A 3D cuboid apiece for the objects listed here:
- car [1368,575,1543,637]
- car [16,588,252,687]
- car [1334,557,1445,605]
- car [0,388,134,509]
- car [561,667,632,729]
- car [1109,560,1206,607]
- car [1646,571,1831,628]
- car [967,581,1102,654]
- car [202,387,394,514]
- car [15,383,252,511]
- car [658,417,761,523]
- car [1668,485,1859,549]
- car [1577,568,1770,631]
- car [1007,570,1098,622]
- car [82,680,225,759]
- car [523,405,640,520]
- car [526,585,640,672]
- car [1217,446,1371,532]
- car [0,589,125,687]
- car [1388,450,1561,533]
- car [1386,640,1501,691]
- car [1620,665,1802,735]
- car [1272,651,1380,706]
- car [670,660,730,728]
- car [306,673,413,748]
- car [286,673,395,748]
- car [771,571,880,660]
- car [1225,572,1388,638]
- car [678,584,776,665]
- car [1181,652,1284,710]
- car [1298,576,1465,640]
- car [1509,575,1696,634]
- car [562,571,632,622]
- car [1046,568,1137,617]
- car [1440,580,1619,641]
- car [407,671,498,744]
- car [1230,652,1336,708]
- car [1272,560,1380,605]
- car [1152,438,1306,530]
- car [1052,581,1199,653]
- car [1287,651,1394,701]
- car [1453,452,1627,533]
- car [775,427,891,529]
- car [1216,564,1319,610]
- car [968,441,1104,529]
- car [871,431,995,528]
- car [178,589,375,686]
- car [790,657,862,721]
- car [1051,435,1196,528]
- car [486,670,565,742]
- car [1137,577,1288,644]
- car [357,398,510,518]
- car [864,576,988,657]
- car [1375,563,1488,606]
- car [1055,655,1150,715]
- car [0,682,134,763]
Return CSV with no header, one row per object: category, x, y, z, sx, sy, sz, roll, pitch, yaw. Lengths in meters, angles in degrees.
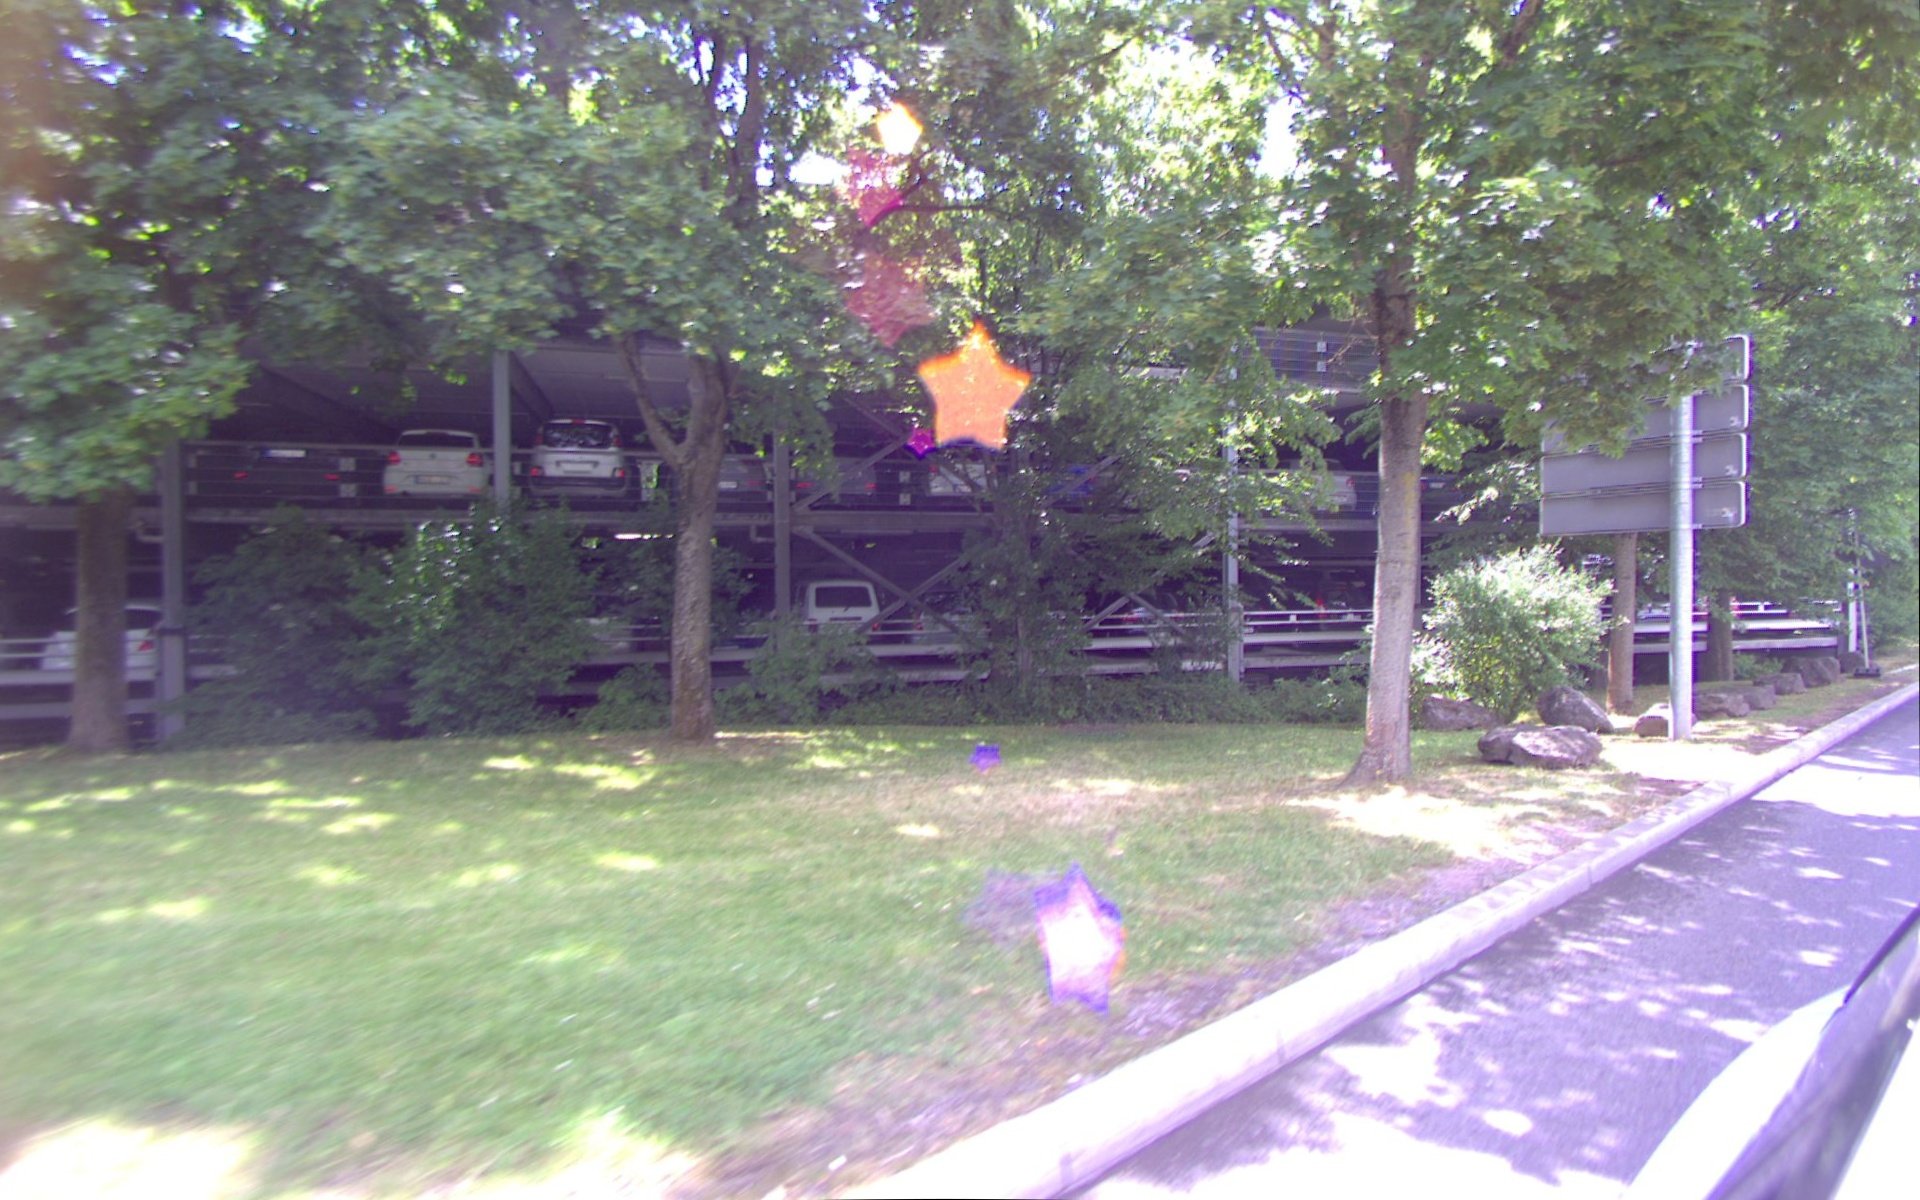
car,12.035,0.087,24.865,1.659,1.409,3.866,0,1,-17
car,-13.625,0.535,16.994,1.739,1.409,3.807,0,1,-17
car,15.918,-0.763,37.720,1.716,1.665,3.867,0,3,-17
car,-15.465,-2.426,16.526,1.691,1.561,3.712,2,1,-16
car,-10.611,2.815,29.740,1.739,1.349,3.807,0,1,-17
car,6.795,-0.606,35.196,1.659,1.504,3.867,0,3,-17
car,20.988,-0.059,27.463,1.624,1.429,3.712,0,1,-17
car,1.510,0.316,21.976,1.659,1.409,3.866,0,1,-17
car,-11.229,-2.452,17.453,1.691,1.639,3.712,2,1,-16
car,-13.542,-2.415,16.867,1.691,1.561,3.712,2,1,-16
car,-4.861,-2.387,19.455,1.691,1.561,3.712,2,1,-16
car,21.291,-2.148,27.010,1.624,1.429,3.712,2,1,-16
car,18.757,-0.057,26.823,1.798,1.533,3.866,0,1,-17
car,2.967,-0.185,33.288,1.659,1.504,3.867,0,3,-17
car,-20.842,3.029,26.336,1.605,1.387,3.793,0,3,-17
car,-6.925,-2.445,18.840,1.691,1.639,3.712,2,1,-16
car,-6.952,0.453,18.967,1.739,1.409,3.866,0,1,-17
car,7.835,-2.557,24.110,1.624,1.639,3.712,2,1,-16
car,-15.610,0.553,16.485,1.739,1.409,3.807,0,1,-17
car,12.410,-2.556,24.673,1.624,1.639,3.712,2,1,-16
car,18.049,2.396,37.991,1.716,1.442,3.867,0,3,-17
car,20.959,2.736,28.438,1.798,1.471,3.743,0,1,-18
car,13.082,2.760,36.397,1.659,1.464,3.867,0,3,-17
car,-7.922,2.774,30.605,1.605,1.464,3.793,0,3,-17
car,-16.125,2.925,27.372,1.605,1.387,3.793,0,3,-17
car,-16.652,2.917,27.384,1.605,1.387,3.793,0,3,-17
car,-2.878,0.240,20.962,1.659,1.646,3.866,0,1,-17
car,7.981,0.064,23.688,1.659,1.409,3.866,0,1,-17
car,-4.744,0.413,20.272,1.659,1.409,3.866,0,1,-17
car,9.438,2.766,35.302,1.659,1.464,3.867,0,3,-17
car,10.049,0.137,24.449,1.659,1.409,3.866,0,1,-17
car,16.513,0.061,26.233,1.775,1.409,3.866,0,1,-16
car,-10.603,-0.150,29.766,1.739,1.409,3.807,0,1,-17
car,4.447,-0.309,34.794,1.659,1.504,3.867,0,3,-17
car,14.328,0.210,25.713,1.659,1.409,3.866,0,1,-17
car,-14.014,2.915,28.125,1.605,1.387,3.793,0,3,-17
car,11.353,2.765,35.845,1.659,1.464,3.867,0,3,-17
car,13.251,-0.682,36.888,1.716,1.504,3.867,0,3,-17
car,5.913,-2.506,22.708,1.624,1.639,3.712,2,1,-16
car,3.522,0.293,22.272,1.659,1.409,3.866,0,1,-17
car,13.836,2.737,37.007,1.644,1.327,3.867,0,3,-17
car,14.589,-2.647,25.707,1.624,1.662,3.712,2,1,-16
car,-2.593,-2.306,19.991,1.691,1.561,3.712,2,1,-16
car,10.985,-0.514,36.431,1.659,1.504,3.867,0,3,-17
car,1.498,-2.334,21.317,1.624,1.449,3.712,2,1,-16
car,-0.660,-2.417,21.107,1.691,1.561,3.712,2,1,-16
car,-11.535,0.545,17.376,1.739,1.409,3.807,0,1,-17
car,-4.303,2.753,31.961,1.659,1.464,3.867,0,3,-17
car,3.409,-2.459,21.815,1.624,1.582,3.712,2,1,-16
car,-12.185,2.919,28.547,1.605,1.387,3.793,0,3,-17
car,5.725,0.180,23.455,1.659,1.409,3.866,0,1,-17
car,-9.348,-2.450,18.272,1.691,1.639,3.712,2,1,-16
car,-0.812,0.261,21.122,1.659,1.508,3.866,0,1,-17
car,17.739,-0.622,38.261,1.716,1.460,3.867,0,3,-17
car,4.672,2.777,33.817,1.659,1.464,3.867,0,3,-17
car,-22.864,3.036,25.665,1.605,1.387,3.793,0,3,-17
